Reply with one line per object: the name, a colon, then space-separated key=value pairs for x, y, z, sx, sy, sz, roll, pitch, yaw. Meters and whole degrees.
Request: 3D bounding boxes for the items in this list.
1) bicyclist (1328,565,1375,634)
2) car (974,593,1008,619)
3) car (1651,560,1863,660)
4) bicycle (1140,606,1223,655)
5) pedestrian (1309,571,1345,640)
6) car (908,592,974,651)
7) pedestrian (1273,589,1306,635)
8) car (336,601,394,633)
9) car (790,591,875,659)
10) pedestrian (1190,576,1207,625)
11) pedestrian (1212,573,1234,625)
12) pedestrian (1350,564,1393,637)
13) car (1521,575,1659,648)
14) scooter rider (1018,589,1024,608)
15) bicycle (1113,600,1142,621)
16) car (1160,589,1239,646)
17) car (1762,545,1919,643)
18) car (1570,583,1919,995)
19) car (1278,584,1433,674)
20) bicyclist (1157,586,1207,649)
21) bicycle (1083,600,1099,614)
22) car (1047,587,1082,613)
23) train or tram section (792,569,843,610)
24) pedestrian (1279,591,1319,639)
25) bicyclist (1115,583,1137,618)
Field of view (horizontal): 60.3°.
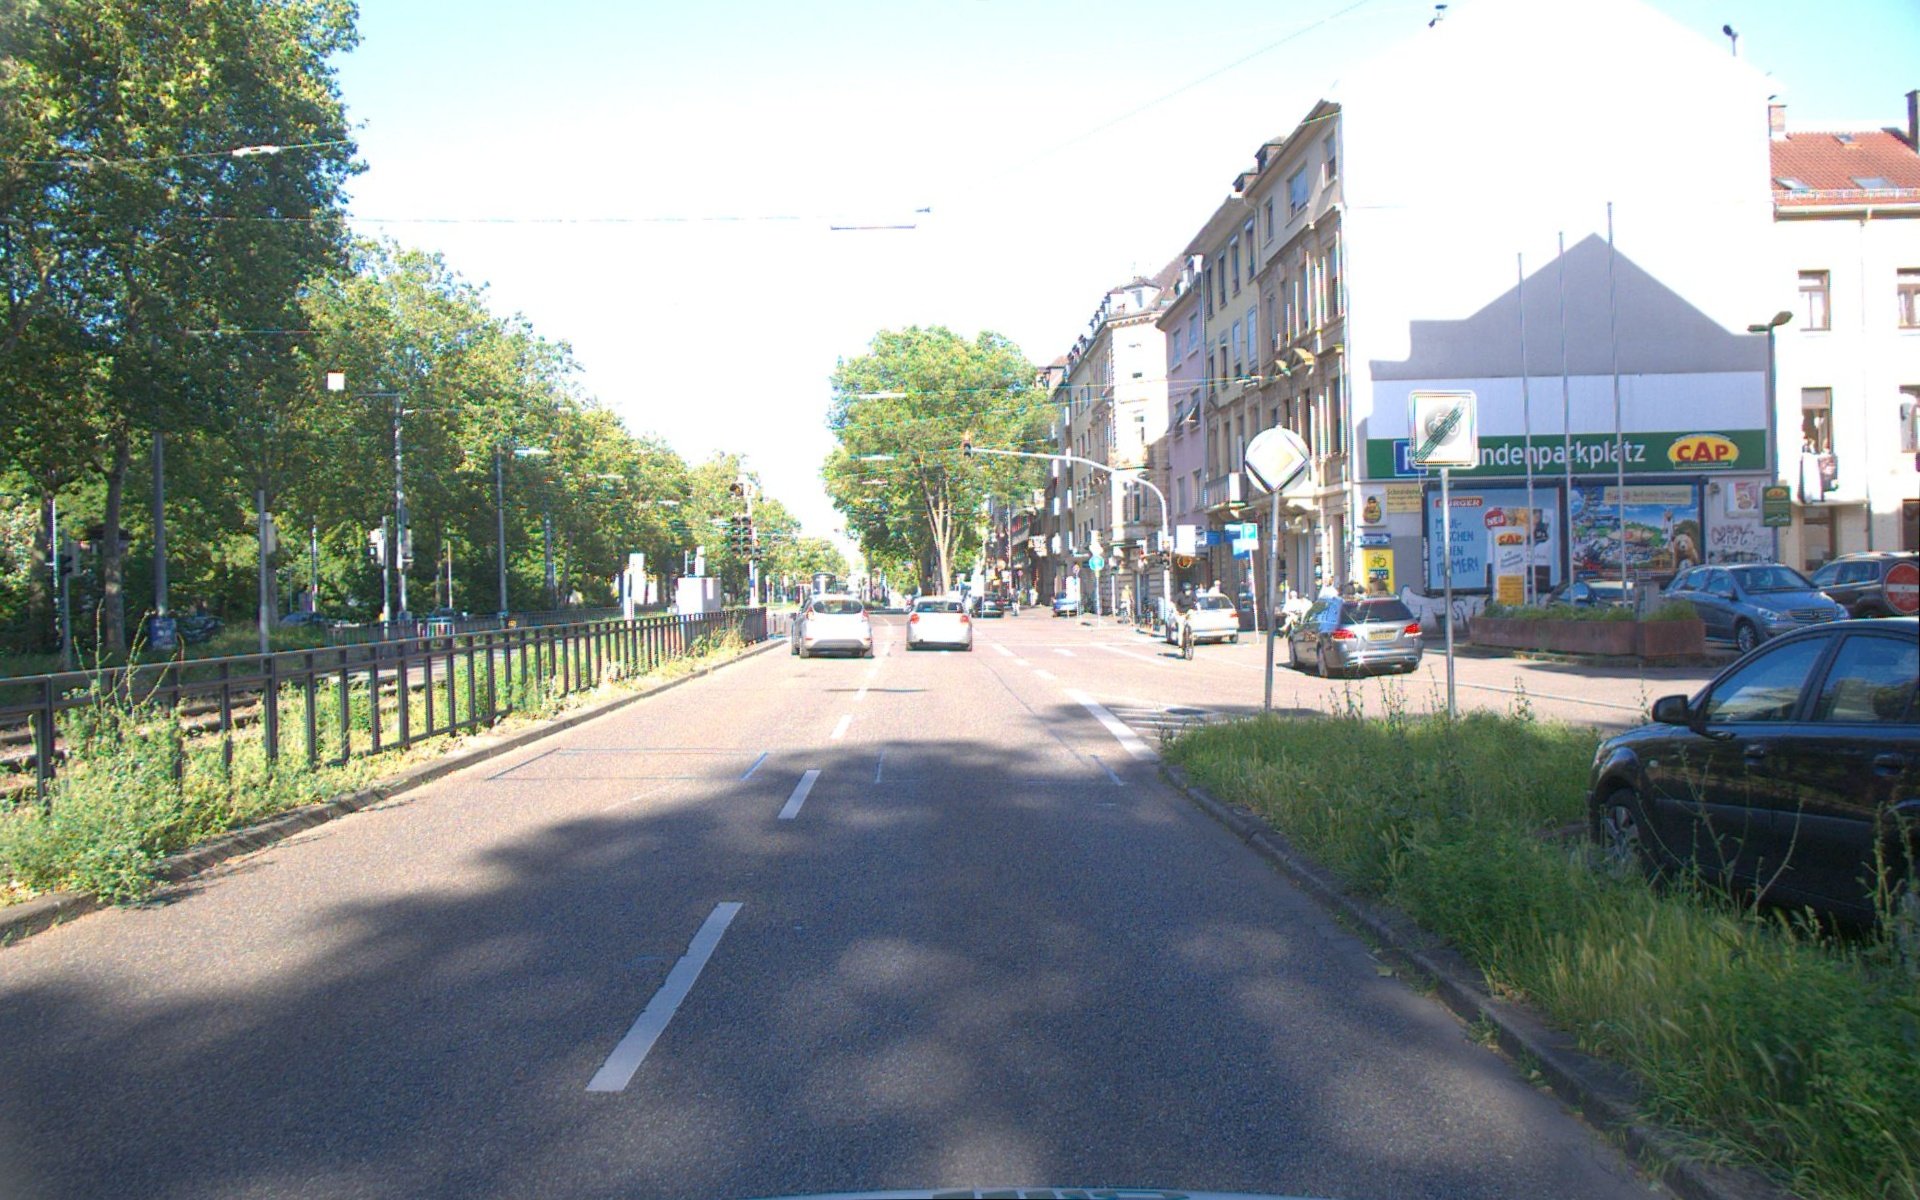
bicyclist: x=8.820 y=-0.008 z=37.300 sx=0.663 sy=1.471 sz=1.181 roll=-5 pitch=0 yaw=-1
car: x=1.767 y=0.349 z=95.421 sx=1.701 sy=1.458 sz=3.676 roll=0 pitch=0 yaw=-3
car: x=14.553 y=0.170 z=30.452 sx=1.710 sy=1.673 sz=3.996 roll=-1 pitch=0 yaw=-5
bicycle: x=5.298 y=0.725 z=39.618 sx=0.753 sy=1.121 sz=1.921 roll=-1 pitch=0 yaw=-44
pedestrian: x=9.608 y=0.149 z=43.308 sx=0.749 sy=1.786 sz=0.510 roll=-1 pitch=0 yaw=-22
car: x=-0.535 y=0.548 z=44.724 sx=1.705 sy=1.493 sz=3.999 roll=1 pitch=0 yaw=-1
pedestrian: x=9.456 y=0.338 z=47.437 sx=0.781 sy=1.304 sz=0.608 roll=-1 pitch=0 yaw=-3
car: x=-30.329 y=0.857 z=84.427 sx=1.636 sy=1.536 sz=4.143 roll=-1 pitch=0 yaw=-3
car: x=-3.066 y=0.545 z=39.123 sx=1.580 sy=1.493 sz=3.880 roll=-1 pitch=0 yaw=-11
pedestrian: x=8.600 y=0.028 z=59.693 sx=0.538 sy=1.738 sz=0.388 roll=-1 pitch=0 yaw=1
pedestrian: x=9.450 y=-0.042 z=59.488 sx=0.659 sy=1.838 sz=0.530 roll=-1 pitch=0 yaw=-2
pedestrian: x=10.707 y=0.006 z=43.035 sx=0.749 sy=1.873 sz=0.743 roll=-1 pitch=0 yaw=-20
car: x=13.867 y=0.234 z=36.579 sx=1.527 sy=1.511 sz=3.391 roll=-1 pitch=0 yaw=-5
scooter rider: x=4.936 y=-0.089 z=134.315 sx=0.456 sy=1.531 sz=0.811 roll=-1 pitch=0 yaw=1
bicycle: x=7.561 y=0.462 z=74.616 sx=0.642 sy=0.919 sz=1.331 roll=-1 pitch=0 yaw=40
car: x=6.843 y=0.473 z=47.606 sx=1.531 sy=1.440 sz=4.003 roll=-4 pitch=0 yaw=-1
car: x=17.108 y=-0.122 z=31.277 sx=1.710 sy=1.723 sz=3.997 roll=-1 pitch=0 yaw=-4
car: x=4.356 y=0.725 z=7.371 sx=1.608 sy=1.544 sz=3.998 roll=1 pitch=0 yaw=-3
car: x=7.665 y=0.521 z=32.514 sx=1.796 sy=1.513 sz=4.733 roll=-4 pitch=0 yaw=-1
bicyclist: x=5.314 y=0.406 z=39.610 sx=0.935 sy=1.487 sz=0.742 roll=0 pitch=-1 yaw=43
bicycle: x=8.072 y=0.425 z=101.718 sx=0.739 sy=0.784 sz=1.944 roll=-1 pitch=0 yaw=-3
car: x=6.241 y=-0.026 z=99.082 sx=1.700 sy=1.546 sz=3.635 roll=0 pitch=0 yaw=-2
train or tram section: x=-14.287 y=-1.040 z=167.238 sx=3.888 sy=3.933 sz=17.484 roll=-1 pitch=0 yaw=-1
pedestrian: x=9.586 y=0.414 z=46.784 sx=0.884 sy=1.303 sz=0.655 roll=-4 pitch=0 yaw=-6
bicyclist: x=7.491 y=0.028 z=74.541 sx=0.538 sy=1.528 sz=0.956 roll=-1 pitch=0 yaw=40
